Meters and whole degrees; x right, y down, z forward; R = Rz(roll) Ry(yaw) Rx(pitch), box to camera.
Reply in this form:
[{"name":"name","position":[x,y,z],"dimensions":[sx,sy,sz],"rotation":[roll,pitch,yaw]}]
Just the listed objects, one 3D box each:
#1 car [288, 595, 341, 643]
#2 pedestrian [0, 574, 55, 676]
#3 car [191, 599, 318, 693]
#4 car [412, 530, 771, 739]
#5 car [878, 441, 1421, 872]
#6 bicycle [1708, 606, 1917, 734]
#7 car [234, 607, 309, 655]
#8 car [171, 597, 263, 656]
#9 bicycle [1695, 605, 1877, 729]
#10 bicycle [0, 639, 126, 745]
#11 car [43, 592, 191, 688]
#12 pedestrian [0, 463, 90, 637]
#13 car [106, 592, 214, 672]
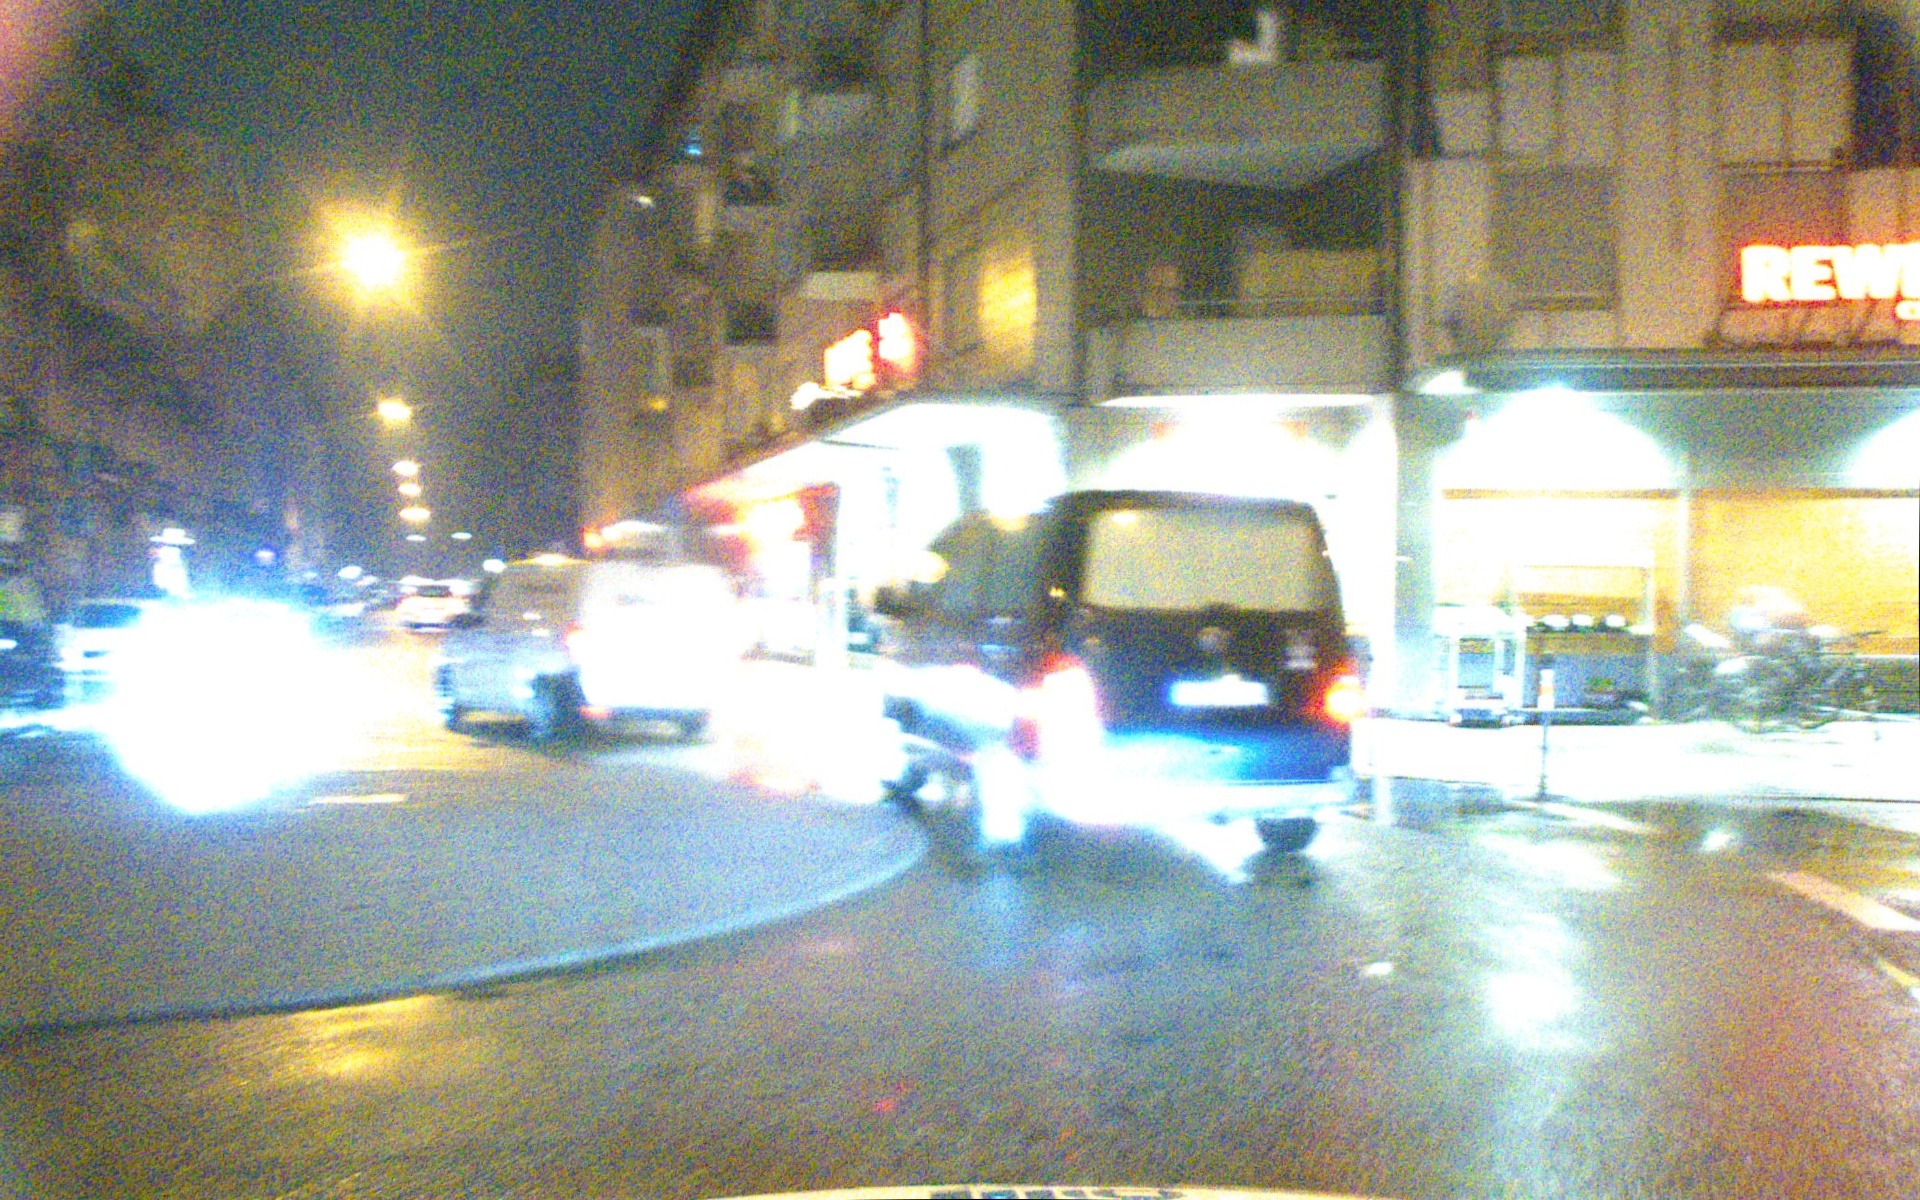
[{"name":"car","position":[-29.247,0.868,75.051],"dimensions":[1.963,2.049,3.979],"rotation":[2,-1,-18]},{"name":"pedestrian","position":[-17.014,0.450,29.934],"dimensions":[0.790,1.797,1.012],"rotation":[2,-1,-12]},{"name":"car","position":[-12.089,0.734,28.527],"dimensions":[1.538,1.452,4.050],"rotation":[-1,1,-17]},{"name":"car","position":[-4.169,0.312,18.093],"dimensions":[2.106,1.956,4.764],"rotation":[1,0,-36]},{"name":"car","position":[0.842,0.274,10.251],"dimensions":[2.084,2.026,4.589],"rotation":[0,0,-11]},{"name":"bicycle","position":[8.160,0.660,15.877],"dimensions":[1.743,1.194,0.384],"rotation":[0,0,10]},{"name":"car","position":[-22.492,0.997,54.143],"dimensions":[1.964,1.474,3.978],"rotation":[2,-1,-19]},{"name":"car","position":[-19.098,0.644,42.658],"dimensions":[1.664,1.425,4.295],"rotation":[1,0,-18]},{"name":"bicycle","position":[8.369,0.676,16.786],"dimensions":[1.607,1.195,0.384],"rotation":[1,-3,10]},{"name":"bicycle","position":[-10.112,0.995,17.983],"dimensions":[1.781,1.078,0.706],"rotation":[-1,1,-36]},{"name":"car","position":[-14.487,0.642,28.617],"dimensions":[1.561,1.489,4.004],"rotation":[3,-1,-18]},{"name":"pedestrian","position":[-10.125,-0.531,17.967],"dimensions":[1.113,1.843,0.706],"rotation":[0,0,-35]},{"name":"car","position":[-16.123,0.617,33.450],"dimensions":[1.561,1.536,2.773],"rotation":[1,0,-18]}]
